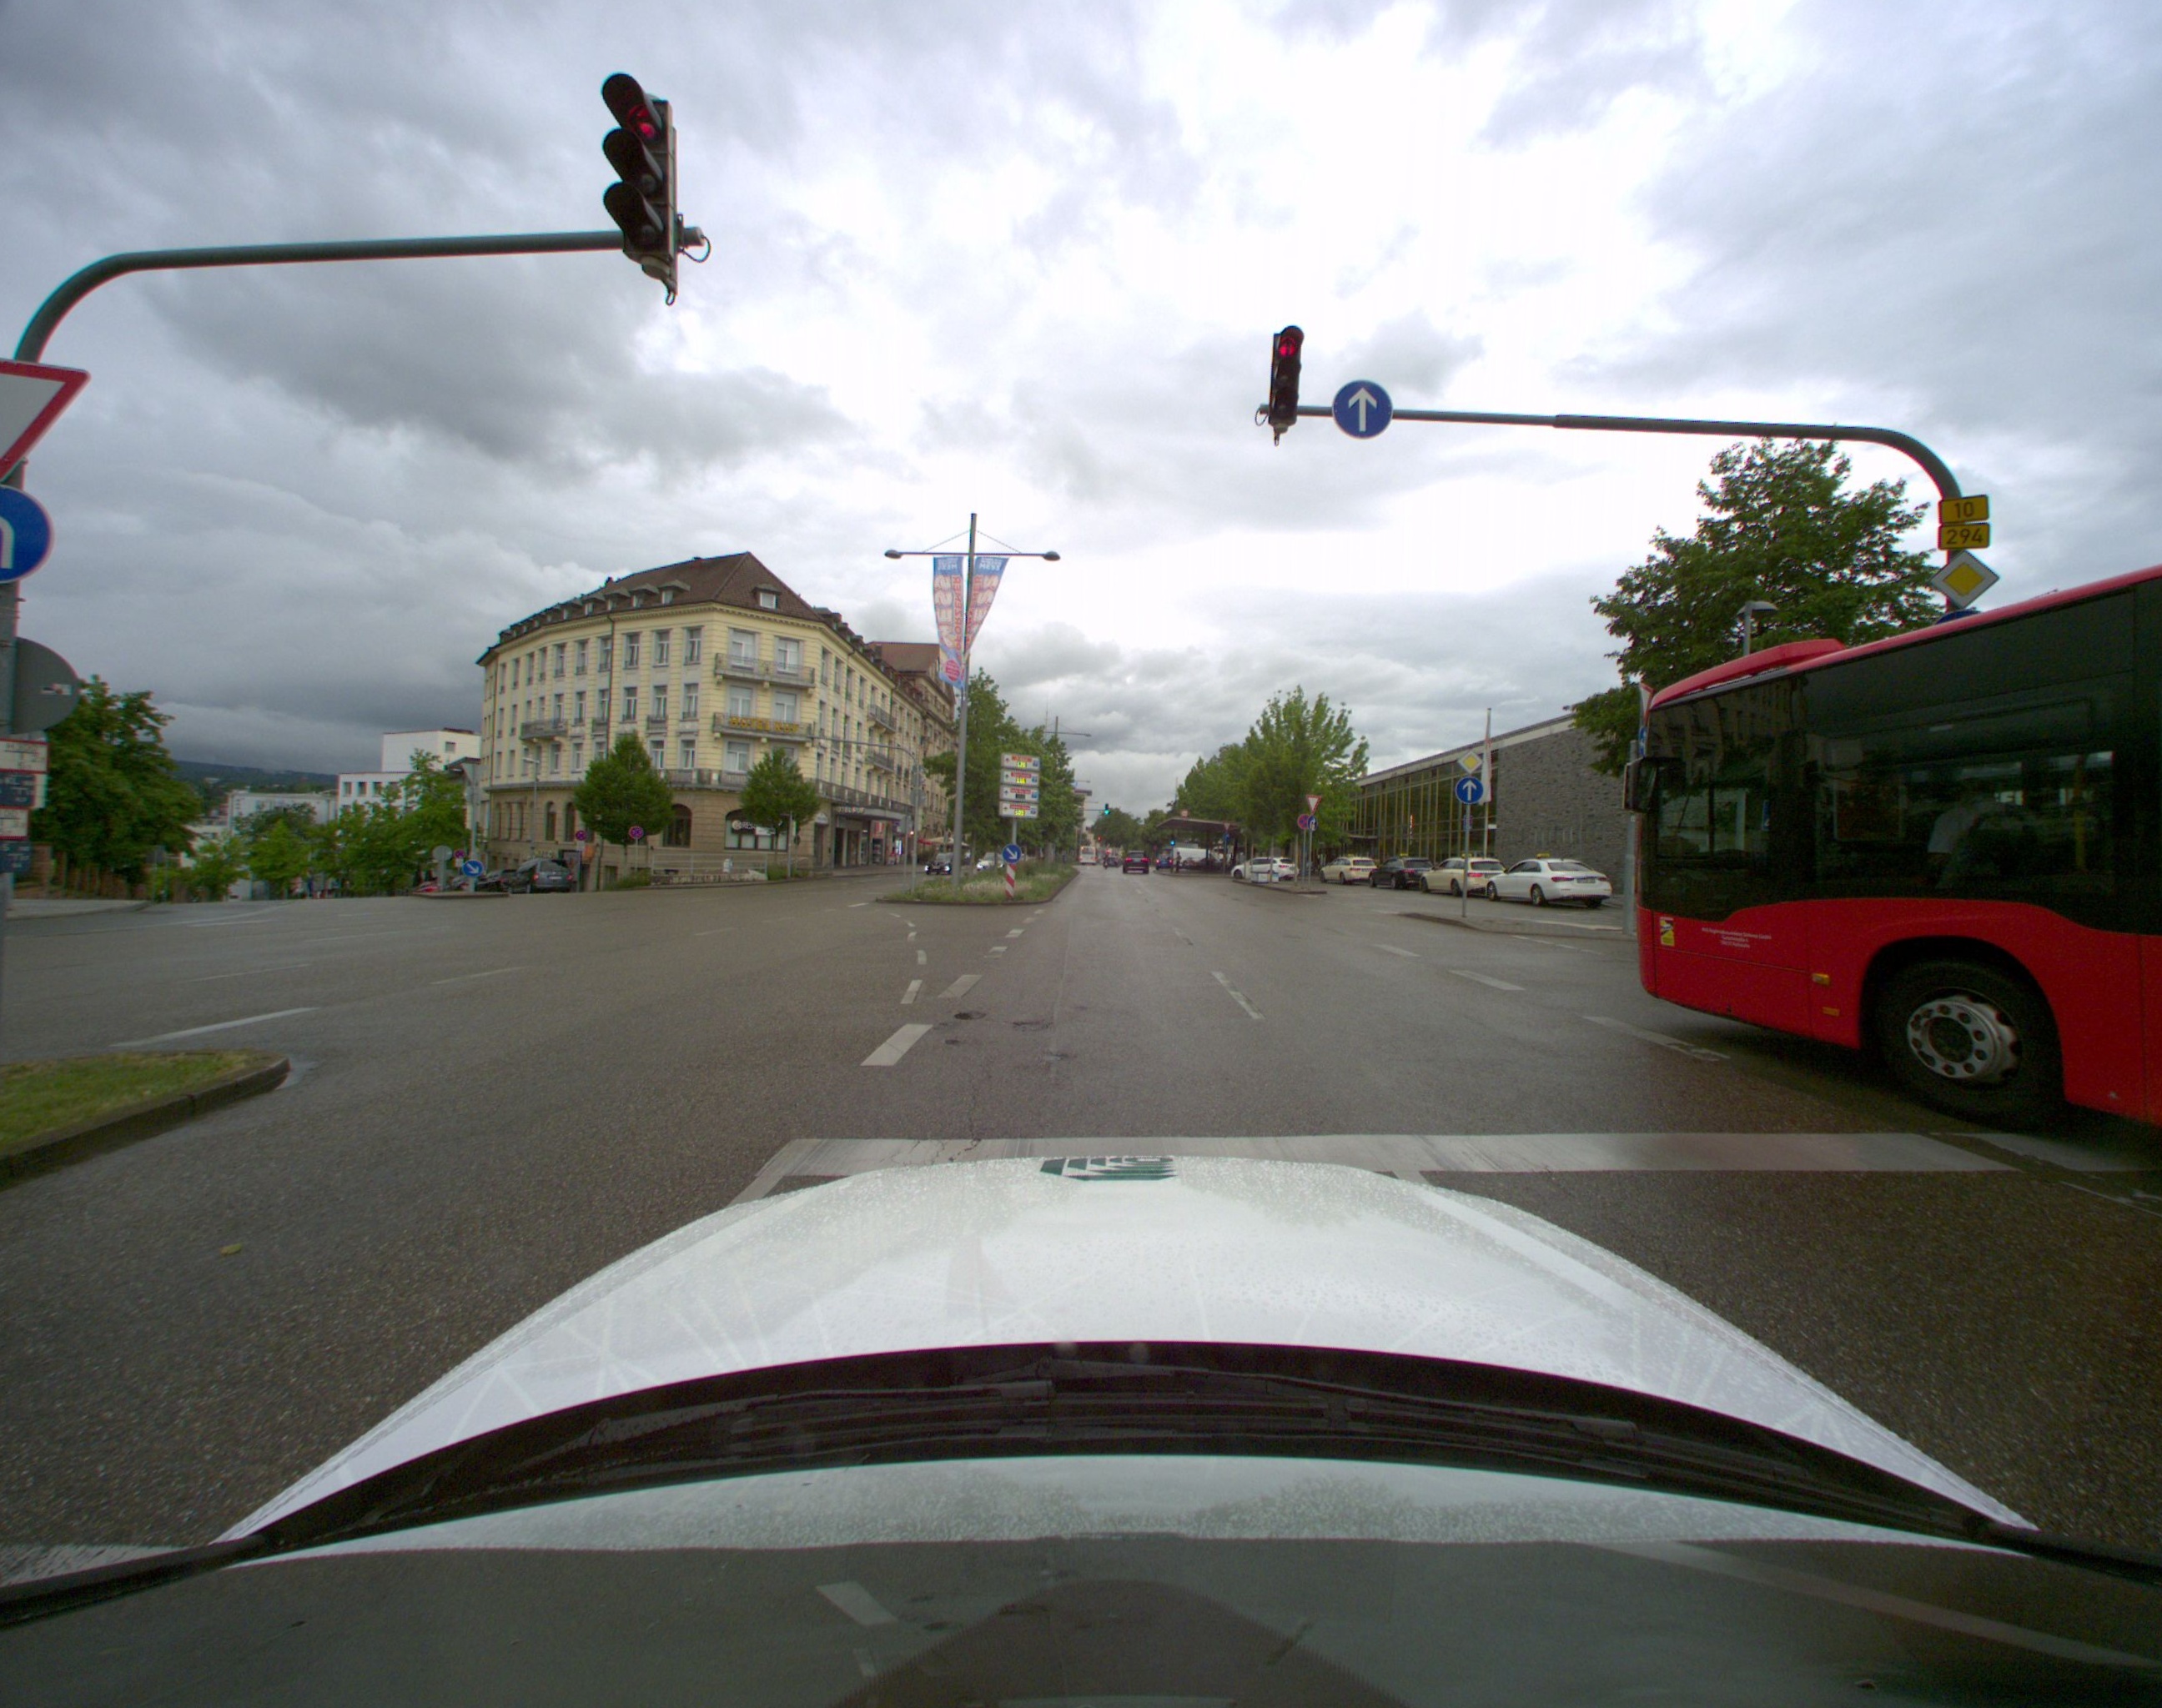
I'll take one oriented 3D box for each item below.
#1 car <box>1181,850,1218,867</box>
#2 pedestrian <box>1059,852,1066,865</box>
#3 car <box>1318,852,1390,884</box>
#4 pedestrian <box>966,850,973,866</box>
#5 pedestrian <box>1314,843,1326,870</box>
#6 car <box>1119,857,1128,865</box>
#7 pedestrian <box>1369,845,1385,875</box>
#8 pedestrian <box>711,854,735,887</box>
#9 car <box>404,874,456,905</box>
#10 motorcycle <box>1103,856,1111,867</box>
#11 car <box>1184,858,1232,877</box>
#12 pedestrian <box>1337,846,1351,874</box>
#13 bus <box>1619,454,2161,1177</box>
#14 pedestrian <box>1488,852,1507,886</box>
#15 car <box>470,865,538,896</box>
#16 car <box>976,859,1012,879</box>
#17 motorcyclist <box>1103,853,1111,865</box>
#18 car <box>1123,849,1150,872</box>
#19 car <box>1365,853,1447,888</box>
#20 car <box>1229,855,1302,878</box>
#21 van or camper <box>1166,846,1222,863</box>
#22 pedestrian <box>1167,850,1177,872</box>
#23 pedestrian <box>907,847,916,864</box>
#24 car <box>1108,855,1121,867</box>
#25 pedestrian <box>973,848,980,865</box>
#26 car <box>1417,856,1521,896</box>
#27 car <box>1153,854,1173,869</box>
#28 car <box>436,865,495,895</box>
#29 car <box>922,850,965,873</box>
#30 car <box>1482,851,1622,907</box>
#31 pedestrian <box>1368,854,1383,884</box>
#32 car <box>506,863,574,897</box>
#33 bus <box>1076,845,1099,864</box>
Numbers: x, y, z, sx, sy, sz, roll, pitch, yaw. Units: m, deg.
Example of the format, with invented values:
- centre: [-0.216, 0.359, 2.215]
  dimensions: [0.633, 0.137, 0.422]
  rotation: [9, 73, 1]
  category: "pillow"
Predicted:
- centre: [14.024, 0.503, 96.503]
  dimensions: [3.998, 2.013, 1.988]
  rotation: [0, 0, -18]
  category: "car"
- centre: [-2.375, 0.628, 105.229]
  dimensions: [0.754, 1.701, 0.561]
  rotation: [0, 0, 8]
  category: "pedestrian"
- centre: [14.682, 0.716, 44.091]
  dimensions: [1.990, 1.600, 4.814]
  rotation: [0, 0, -5]
  category: "car"
- centre: [-11.533, 0.424, 84.379]
  dimensions: [0.573, 1.732, 0.609]
  rotation: [0, 0, 1]
  category: "pedestrian"
- centre: [21.501, 0.200, 73.184]
  dimensions: [0.839, 2.411, 0.863]
  rotation: [0, 0, 3]
  category: "pedestrian"
- centre: [8.150, 1.322, 157.616]
  dimensions: [1.702, 1.474, 4.001]
  rotation: [0, 0, 2]
  category: "car"
- centre: [20.167, 0.420, 55.451]
  dimensions: [0.767, 2.014, 0.828]
  rotation: [0, 0, 0]
  category: "pedestrian"
- centre: [-20.462, 0.934, 46.584]
  dimensions: [0.860, 1.878, 1.023]
  rotation: [0, 0, 1]
  category: "pedestrian"
- centre: [-41.187, 2.217, 51.488]
  dimensions: [3.575, 1.812, 1.788]
  rotation: [0, 0, 38]
  category: "car"
- centre: [2.746, 0.770, 86.267]
  dimensions: [0.763, 1.077, 2.176]
  rotation: [0, 0, 2]
  category: "motorcycle"
- centre: [12.822, 1.388, 82.134]
  dimensions: [4.348, 1.857, 1.988]
  rotation: [0, 0, -18]
  category: "car"
- centre: [19.007, 0.430, 58.857]
  dimensions: [0.767, 2.014, 0.828]
  rotation: [0, 0, 0]
  category: "pedestrian"
- centre: [6.081, -0.170, 2.199]
  dimensions: [2.733, 3.174, 10.197]
  rotation: [0, 0, 1]
  category: "bus"
- centre: [20.223, 0.725, 39.542]
  dimensions: [0.563, 1.646, 0.715]
  rotation: [0, 0, -3]
  category: "pedestrian"
- centre: [-31.969, 1.423, 45.106]
  dimensions: [3.948, 1.640, 2.013]
  rotation: [-1, -1, 37]
  category: "car"
- centre: [-6.226, 1.041, 58.779]
  dimensions: [1.716, 1.381, 4.865]
  rotation: [0, 0, 5]
  category: "car"
- centre: [2.754, 0.516, 86.285]
  dimensions: [0.761, 1.331, 0.867]
  rotation: [0, 0, 2]
  category: "motorcyclist"
- centre: [4.477, 0.536, 66.113]
  dimensions: [1.986, 1.806, 4.691]
  rotation: [0, 0, 2]
  category: "car"
- centre: [14.885, 0.713, 37.597]
  dimensions: [1.907, 1.524, 4.741]
  rotation: [0, 0, 0]
  category: "car"
- centre: [11.486, 0.768, 50.940]
  dimensions: [1.788, 1.385, 4.318]
  rotation: [0, 0, -39]
  category: "car"
- centre: [14.232, 0.086, 102.693]
  dimensions: [6.787, 2.014, 2.366]
  rotation: [0, -1, -25]
  category: "van or camper"
- centre: [7.431, 0.600, 66.551]
  dimensions: [0.717, 1.791, 0.663]
  rotation: [0, 0, -10]
  category: "pedestrian"
- centre: [-15.654, 0.134, 75.351]
  dimensions: [0.666, 1.510, 0.513]
  rotation: [0, -1, -36]
  category: "pedestrian"
- centre: [4.241, 0.884, 103.845]
  dimensions: [1.702, 1.448, 4.001]
  rotation: [0, 0, 2]
  category: "car"
- centre: [-10.816, 0.268, 84.444]
  dimensions: [0.672, 1.701, 0.634]
  rotation: [0, 0, 1]
  category: "pedestrian"
- centre: [14.786, 0.789, 31.371]
  dimensions: [1.840, 1.452, 4.666]
  rotation: [0, 0, 0]
  category: "car"
- centre: [8.560, 0.760, 85.372]
  dimensions: [1.809, 1.530, 4.001]
  rotation: [0, 0, 2]
  category: "car"
- centre: [-36.311, 1.500, 48.028]
  dimensions: [3.864, 1.640, 1.805]
  rotation: [0, 0, 37]
  category: "car"
- centre: [-9.663, 0.515, 57.365]
  dimensions: [1.761, 1.530, 4.089]
  rotation: [0, 0, 9]
  category: "car"
- centre: [14.647, 0.723, 25.652]
  dimensions: [1.768, 1.589, 4.615]
  rotation: [0, 0, 0]
  category: "car"
- centre: [17.122, 0.880, 47.309]
  dimensions: [0.563, 1.710, 0.715]
  rotation: [1, 0, -3]
  category: "pedestrian"
- centre: [-27.100, 1.278, 40.766]
  dimensions: [3.949, 1.568, 1.812]
  rotation: [0, 0, 41]
  category: "car"
- centre: [1.050, 0.163, 144.885]
  dimensions: [3.749, 3.209, 15.521]
  rotation: [0, 0, 0]
  category: "bus"
